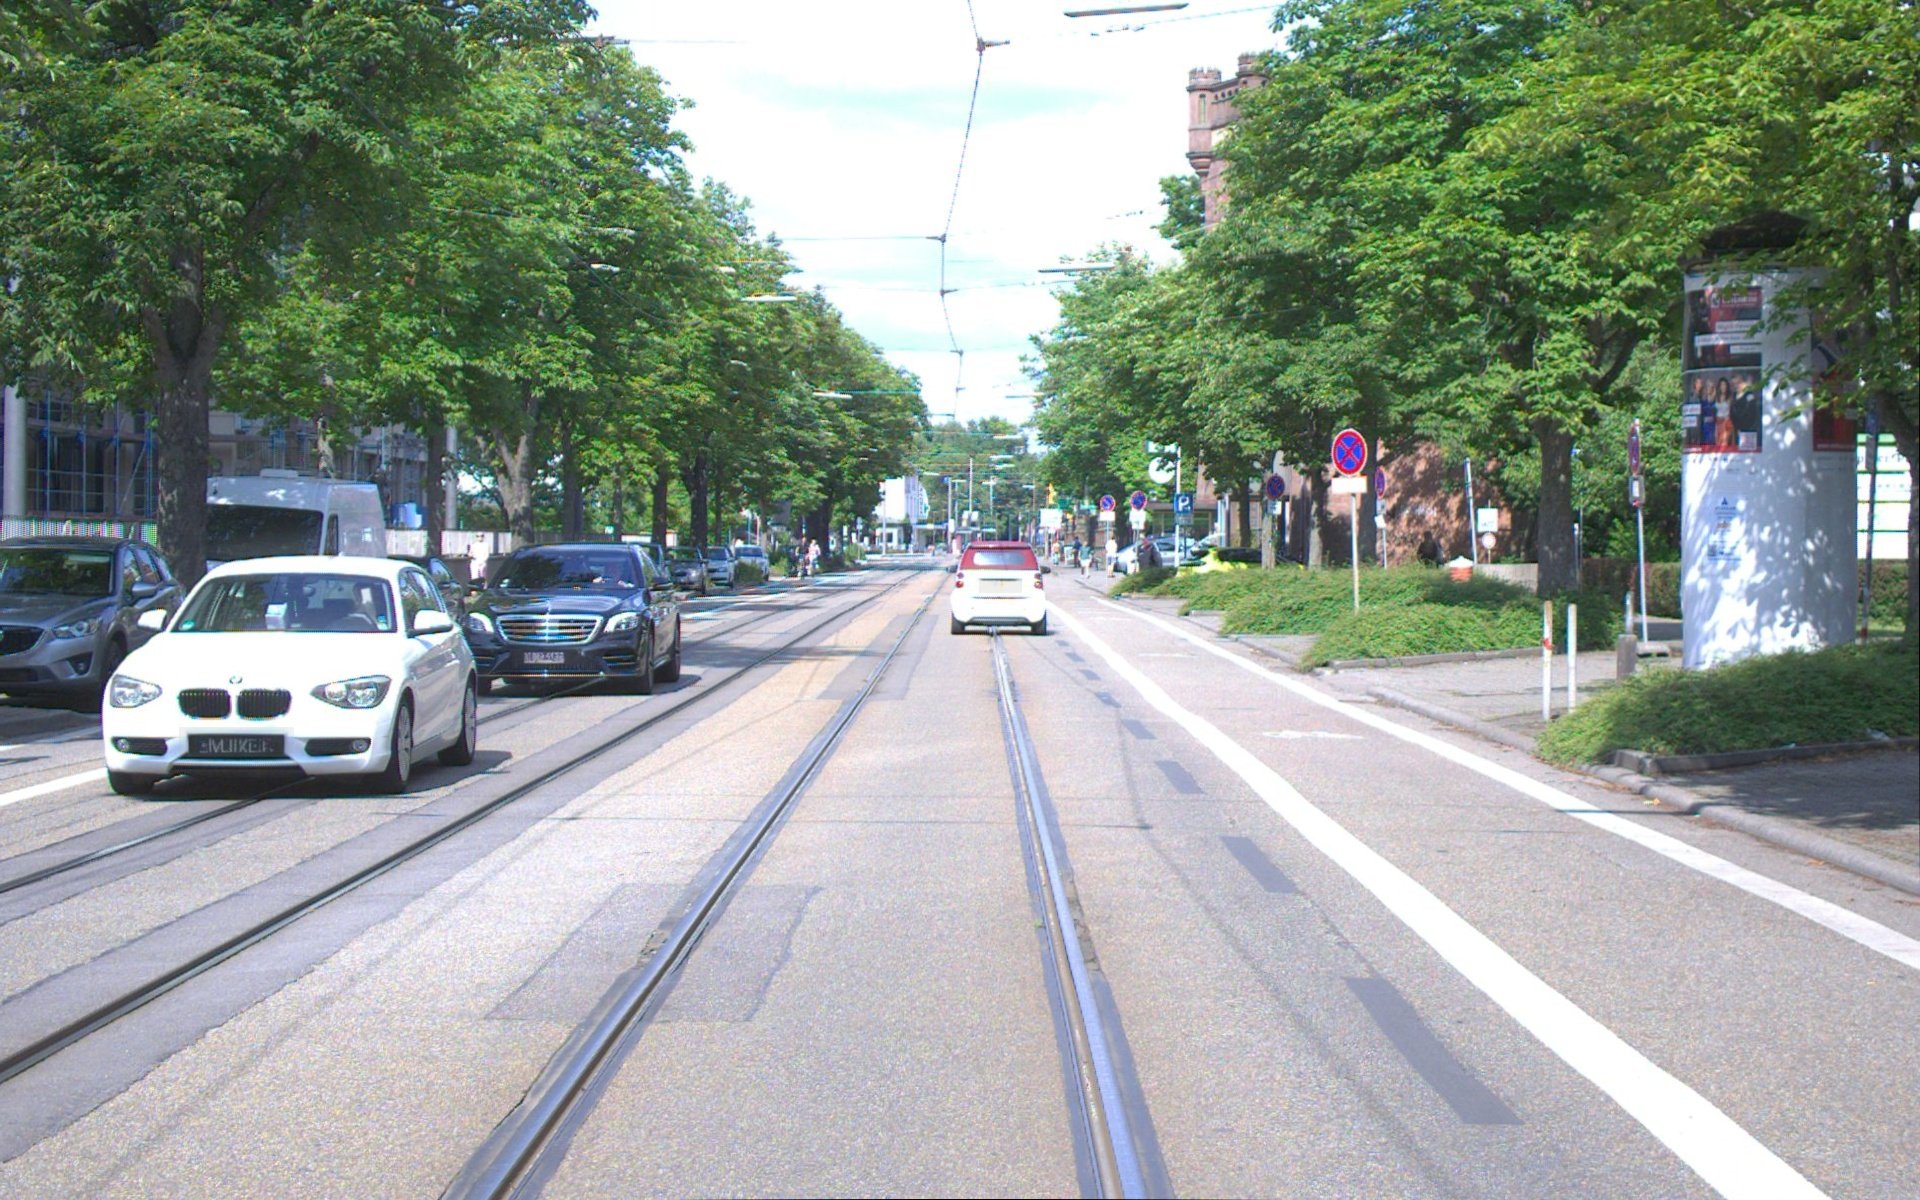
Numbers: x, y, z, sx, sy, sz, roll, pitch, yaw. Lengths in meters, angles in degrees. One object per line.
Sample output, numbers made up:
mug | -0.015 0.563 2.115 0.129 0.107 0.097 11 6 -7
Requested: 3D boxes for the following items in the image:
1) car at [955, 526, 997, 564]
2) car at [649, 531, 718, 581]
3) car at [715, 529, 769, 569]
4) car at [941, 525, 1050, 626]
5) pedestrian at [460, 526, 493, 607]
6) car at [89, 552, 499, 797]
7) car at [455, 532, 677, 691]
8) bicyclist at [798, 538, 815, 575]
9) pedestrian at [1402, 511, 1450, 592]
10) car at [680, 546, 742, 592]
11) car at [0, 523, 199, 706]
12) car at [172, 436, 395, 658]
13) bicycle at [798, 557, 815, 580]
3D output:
car | 0.668 -2.271 142.082 1.665 1.487 3.621 0 2 -1
car | -8.579 -1.382 106.995 1.804 1.511 4.103 1 1 0
car | -8.362 -1.968 131.981 1.804 1.511 4.103 1 1 0
car | 0.567 -0.430 57.434 1.665 1.619 3.621 0 1 -2
pedestrian | -12.122 -0.837 86.250 0.802 2.007 0.485 0 1 -8
car | -4.094 0.395 21.773 1.686 1.401 4.226 0 1 1
car | -3.979 0.078 35.374 1.800 1.503 4.536 1 1 -1
bicyclist | -6.579 -1.861 147.711 0.658 1.574 0.946 2 1 -1
pedestrian | 11.777 -1.235 86.852 0.977 2.007 1.093 2 1 -1
car | -8.618 -1.083 119.338 1.804 1.511 4.103 2 1 0
car | -8.837 0.110 33.681 1.804 1.656 4.103 2 0 0
car | -8.639 -0.679 44.344 1.769 2.630 5.322 2 1 0
bicycle | -6.579 -1.357 147.689 0.618 0.970 1.717 1 1 1
